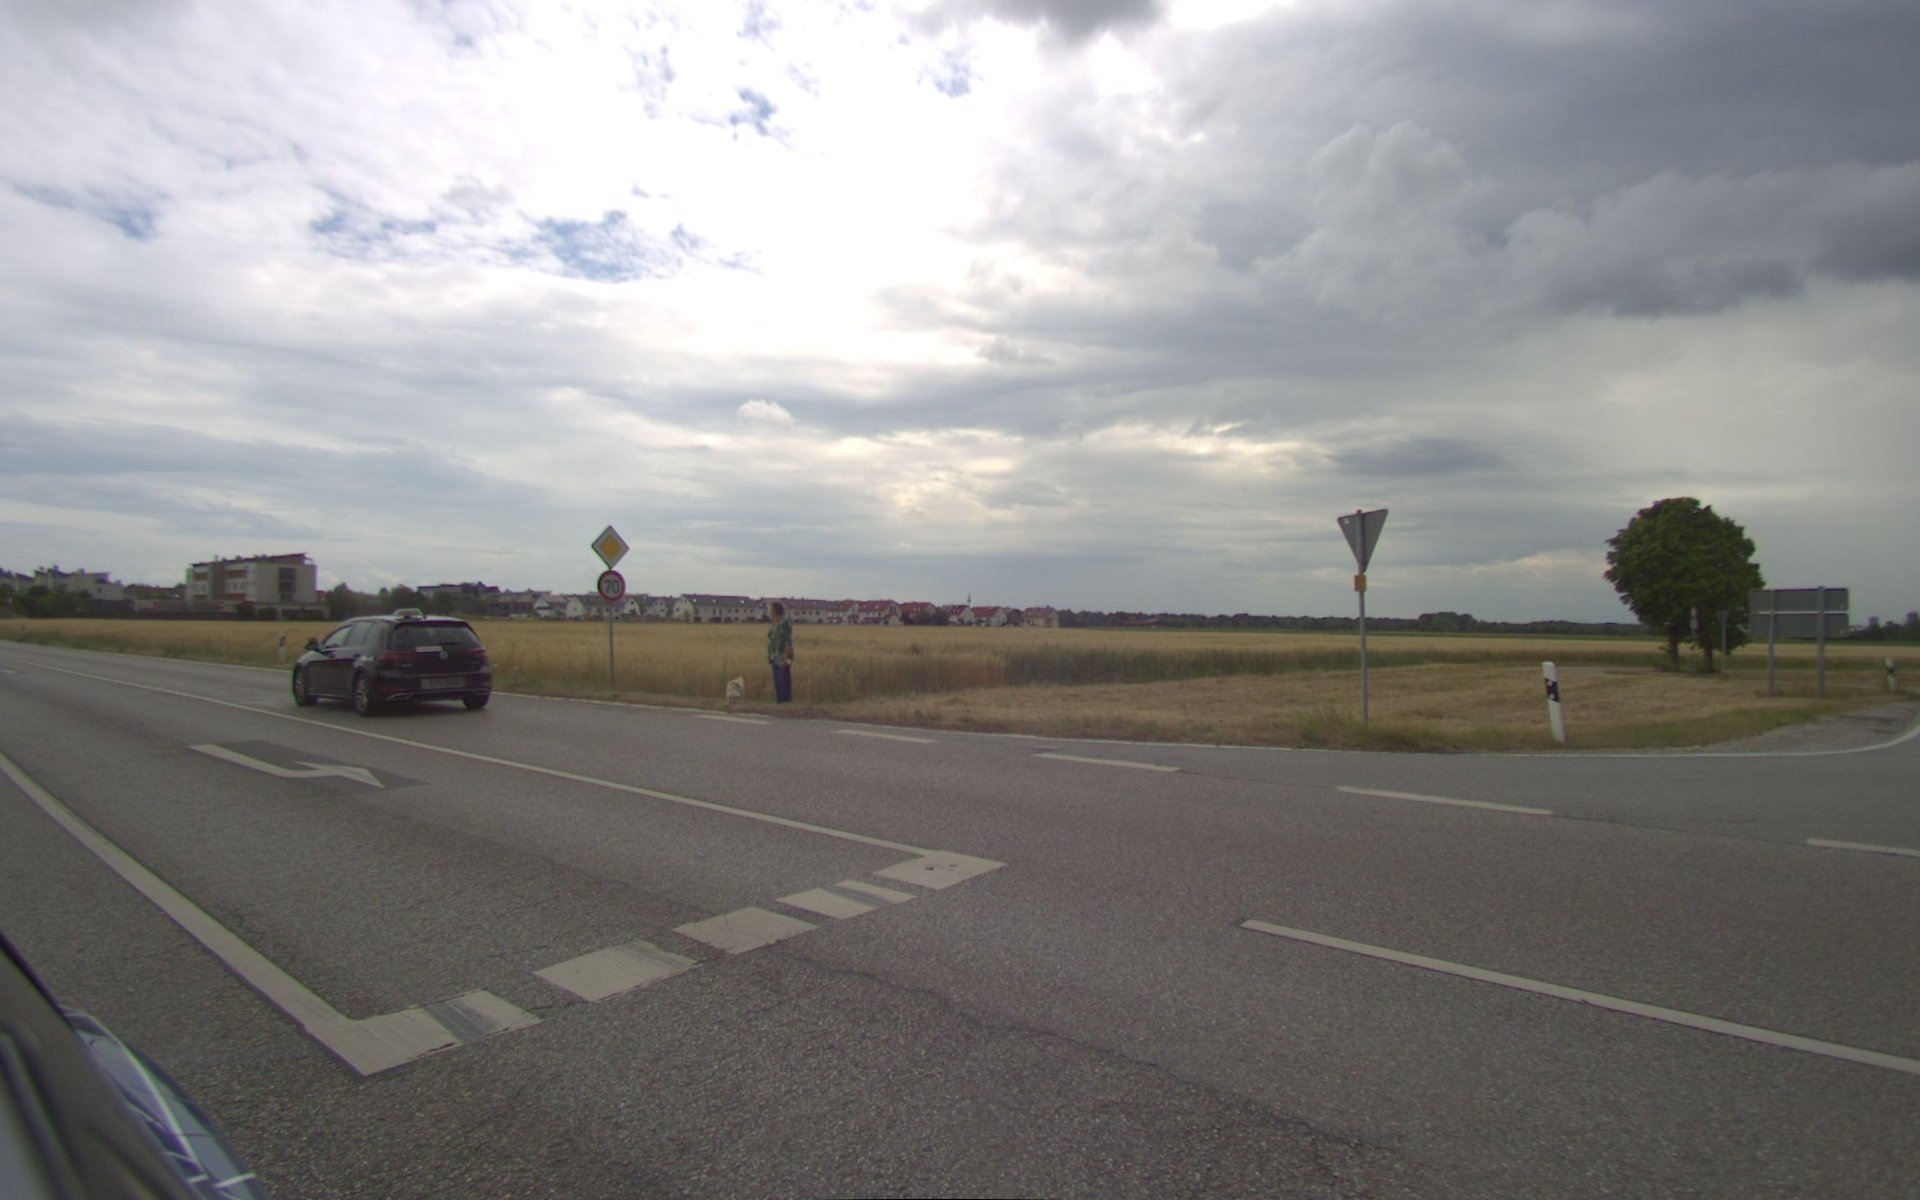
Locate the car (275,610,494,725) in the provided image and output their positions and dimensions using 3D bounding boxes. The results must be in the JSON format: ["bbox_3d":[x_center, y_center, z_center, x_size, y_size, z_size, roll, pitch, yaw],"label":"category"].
[{"bbox_3d":[-9.057,0.939,15.768,4.394,1.533,1.661,-1,0,42],"label":"car"}]

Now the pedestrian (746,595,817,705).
[{"bbox_3d":[-2.725,0.763,15.434,0.865,1.617,0.587,-1,-5,39],"label":"pedestrian"}]
